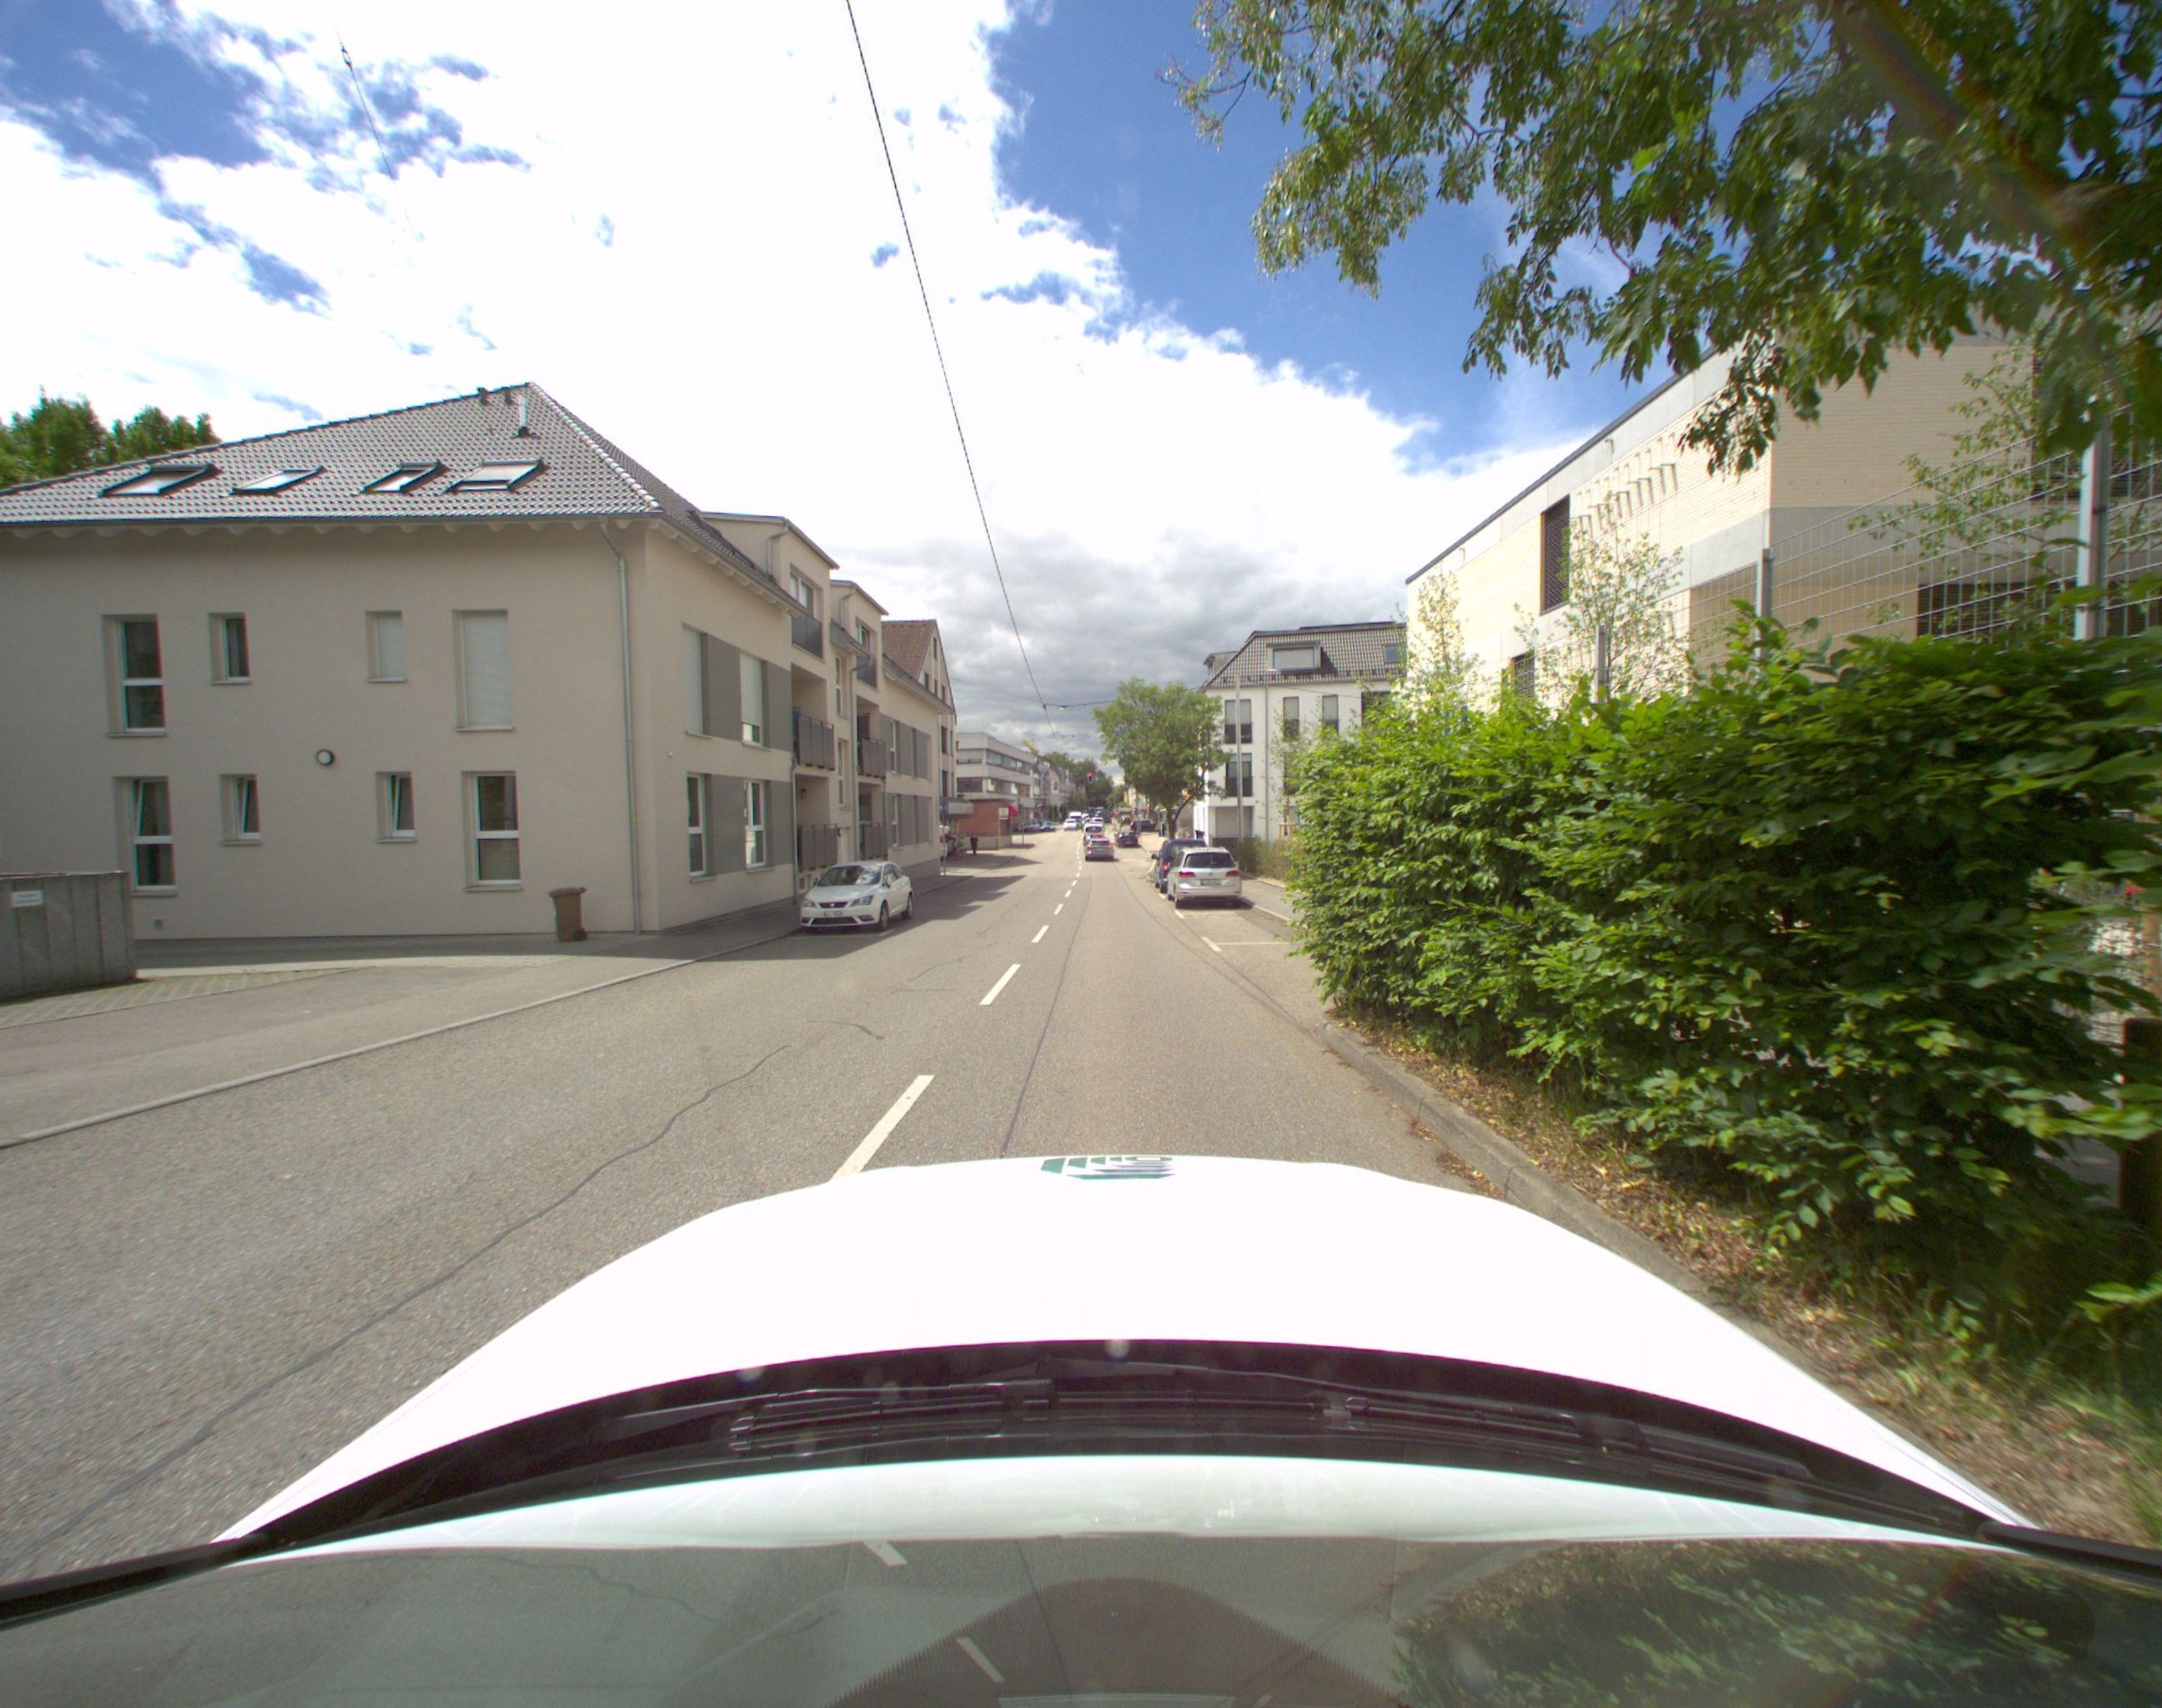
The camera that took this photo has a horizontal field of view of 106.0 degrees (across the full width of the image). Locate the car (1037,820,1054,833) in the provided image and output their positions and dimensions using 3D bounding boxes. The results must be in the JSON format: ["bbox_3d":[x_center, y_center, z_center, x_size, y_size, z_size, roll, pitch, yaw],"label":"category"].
[{"bbox_3d":[-4.871,-3.763,112.433,1.865,1.640,4.005,1,1,4],"label":"car"}]

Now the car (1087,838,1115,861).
[{"bbox_3d":[1.300,-0.312,53.530,1.738,1.416,4.002,-1,1,1],"label":"car"}]

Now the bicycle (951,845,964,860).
[{"bbox_3d":[-7.963,-0.105,52.550,0.465,0.861,1.778,1,3,1],"label":"bicycle"}]

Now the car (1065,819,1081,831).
[{"bbox_3d":[-1.150,-4.117,115.988,1.865,1.640,4.005,1,1,4],"label":"car"}]

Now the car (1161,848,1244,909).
[{"bbox_3d":[3.291,0.596,22.736,1.779,1.509,4.366,0,1,2],"label":"car"}]

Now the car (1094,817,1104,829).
[{"bbox_3d":[2.821,-4.846,128.095,1.630,1.656,3.852,-1,1,1],"label":"car"}]

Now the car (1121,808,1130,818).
[{"bbox_3d":[9.049,-8.386,166.533,1.795,2.013,4.002,-1,0,2],"label":"car"}]

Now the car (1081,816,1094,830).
[{"bbox_3d":[0.892,-3.978,104.787,1.630,1.656,3.852,-1,1,1],"label":"car"}]

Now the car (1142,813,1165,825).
[{"bbox_3d":[10.606,-5.106,118.627,1.555,1.614,3.684,1,1,38],"label":"car"}]

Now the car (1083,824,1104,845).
[{"bbox_3d":[1.109,-1.711,72.911,1.830,1.862,3.852,0,1,1],"label":"car"}]

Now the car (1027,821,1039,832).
[{"bbox_3d":[-6.920,-3.947,116.850,1.379,1.541,3.400,-1,0,2],"label":"car"}]

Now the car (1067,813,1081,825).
[{"bbox_3d":[-1.096,-5.574,130.482,1.865,1.640,4.004,-1,0,4],"label":"car"}]

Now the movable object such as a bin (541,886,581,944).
[{"bbox_3d":[-8.844,1.035,13.848,0.412,0.953,0.391,-1,0,-2],"label":"movable object such as a bin"}]

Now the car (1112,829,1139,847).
[{"bbox_3d":[3.739,-1.350,69.000,1.749,1.370,3.996,-1,3,-4],"label":"car"}]

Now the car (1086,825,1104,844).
[{"bbox_3d":[1.445,-2.018,83.759,1.830,1.862,3.852,0,1,1],"label":"car"}]

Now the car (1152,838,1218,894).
[{"bbox_3d":[3.536,0.358,28.411,1.837,1.767,4.517,0,1,2],"label":"car"}]

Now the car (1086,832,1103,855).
[{"bbox_3d":[1.022,-0.827,62.620,1.269,1.527,3.052,-1,4,1],"label":"car"}]

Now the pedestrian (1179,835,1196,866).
[{"bbox_3d":[5.892,-0.194,45.137,0.736,1.647,0.615,-2,1,-6],"label":"pedestrian"}]

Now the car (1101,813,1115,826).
[{"bbox_3d":[5.077,-6.466,153.158,2.427,2.318,5.329,1,1,1],"label":"car"}]

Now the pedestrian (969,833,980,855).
[{"bbox_3d":[-7.672,-0.717,58.576,0.625,1.602,0.563,0,1,5],"label":"pedestrian"}]

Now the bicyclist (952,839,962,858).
[{"bbox_3d":[-8.004,-0.344,52.556,0.456,1.179,0.625,-1,1,1],"label":"bicyclist"}]

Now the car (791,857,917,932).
[{"bbox_3d":[-4.831,0.805,17.870,1.641,1.418,3.700,0,1,1],"label":"car"}]

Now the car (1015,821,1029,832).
[{"bbox_3d":[-8.034,-3.785,111.769,1.546,1.376,3.400,-1,0,2],"label":"car"}]
